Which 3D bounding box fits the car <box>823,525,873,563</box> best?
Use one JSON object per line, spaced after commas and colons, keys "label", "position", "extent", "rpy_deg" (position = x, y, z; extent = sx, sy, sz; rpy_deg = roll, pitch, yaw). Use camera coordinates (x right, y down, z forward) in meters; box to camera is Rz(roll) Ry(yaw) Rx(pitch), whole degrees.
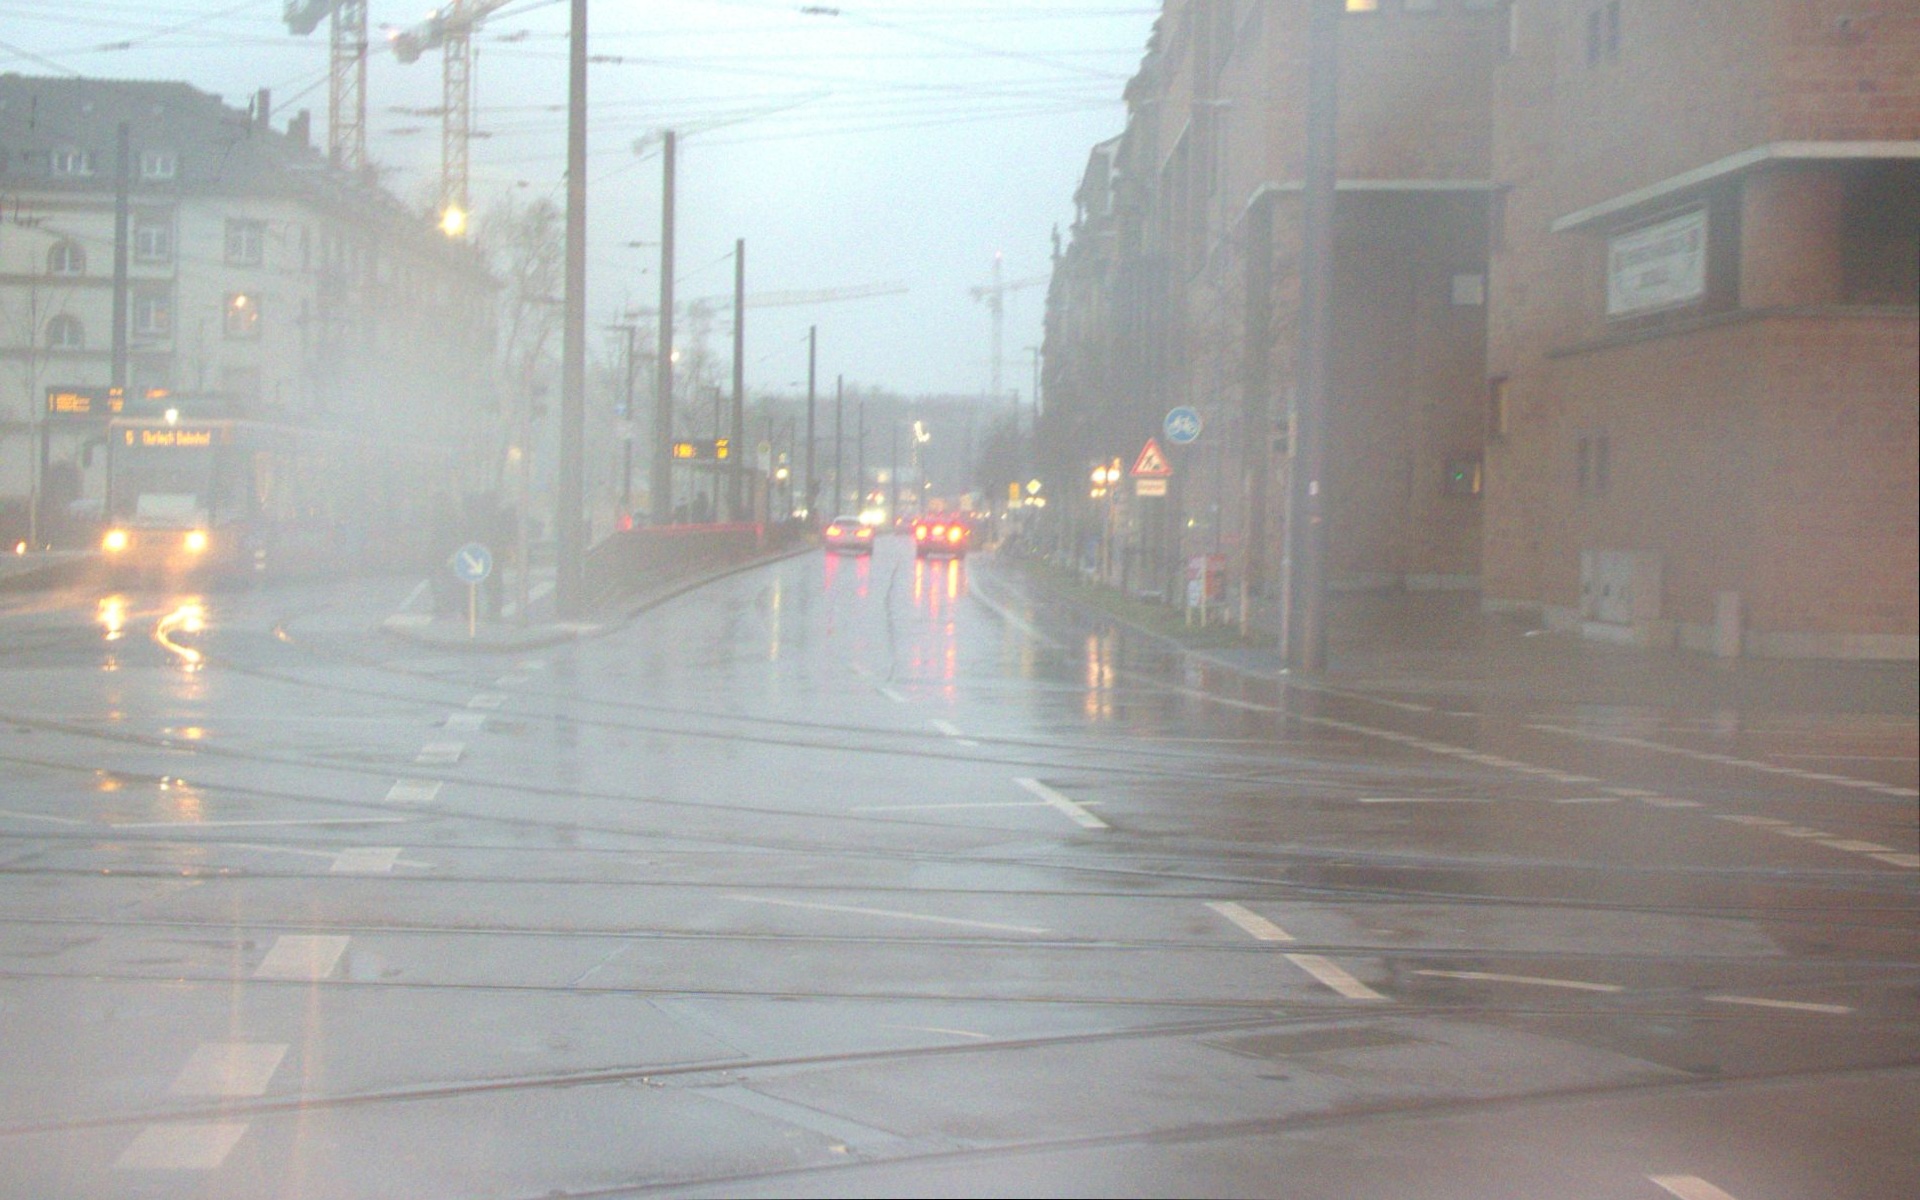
{"label": "car", "position": [-4.454, -2.230, 136.728], "extent": [1.784, 1.462, 3.148], "rpy_deg": [1, 1, 2]}

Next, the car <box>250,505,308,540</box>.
{"label": "car", "position": [-27.957, -3.181, 141.194], "extent": [1.681, 1.349, 3.546], "rpy_deg": [2, 1, -1]}

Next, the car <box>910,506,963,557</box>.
{"label": "car", "position": [-0.939, -2.799, 139.353], "extent": [1.993, 2.007, 4.000], "rpy_deg": [1, 1, 2]}

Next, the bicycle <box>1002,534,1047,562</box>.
{"label": "bicycle", "position": [2.505, -2.005, 132.770], "extent": [1.729, 1.051, 0.371], "rpy_deg": [0, 1, -1]}

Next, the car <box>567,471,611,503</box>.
{"label": "car", "position": [-17.280, -5.254, 160.225], "extent": [1.681, 1.349, 3.546], "rpy_deg": [2, 1, -1]}

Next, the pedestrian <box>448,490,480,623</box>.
{"label": "pedestrian", "position": [-6.711, -0.591, 46.530], "extent": [0.359, 1.780, 0.440], "rpy_deg": [2, 1, -5]}

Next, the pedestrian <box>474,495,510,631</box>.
{"label": "pedestrian", "position": [-6.389, -0.509, 46.949], "extent": [0.412, 1.839, 0.670], "rpy_deg": [2, 1, -5]}

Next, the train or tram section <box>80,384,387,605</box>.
{"label": "train or tram section", "position": [-13.280, -1.921, 64.148], "extent": [2.950, 3.576, 12.256], "rpy_deg": [3, 1, 0]}

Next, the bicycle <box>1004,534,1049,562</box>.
{"label": "bicycle", "position": [2.568, -1.994, 132.286], "extent": [1.729, 1.051, 0.371], "rpy_deg": [0, 1, -1]}

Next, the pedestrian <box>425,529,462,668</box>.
{"label": "pedestrian", "position": [-7.345, -0.027, 48.884], "extent": [0.433, 1.960, 0.473], "rpy_deg": [2, 1, -5]}

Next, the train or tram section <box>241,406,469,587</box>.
{"label": "train or tram section", "position": [-13.193, -2.252, 76.007], "extent": [2.925, 3.565, 11.036], "rpy_deg": [3, 1, 0]}

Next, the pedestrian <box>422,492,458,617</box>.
{"label": "pedestrian", "position": [-7.306, -0.643, 48.293], "extent": [0.433, 1.729, 0.473], "rpy_deg": [2, 1, -5]}
